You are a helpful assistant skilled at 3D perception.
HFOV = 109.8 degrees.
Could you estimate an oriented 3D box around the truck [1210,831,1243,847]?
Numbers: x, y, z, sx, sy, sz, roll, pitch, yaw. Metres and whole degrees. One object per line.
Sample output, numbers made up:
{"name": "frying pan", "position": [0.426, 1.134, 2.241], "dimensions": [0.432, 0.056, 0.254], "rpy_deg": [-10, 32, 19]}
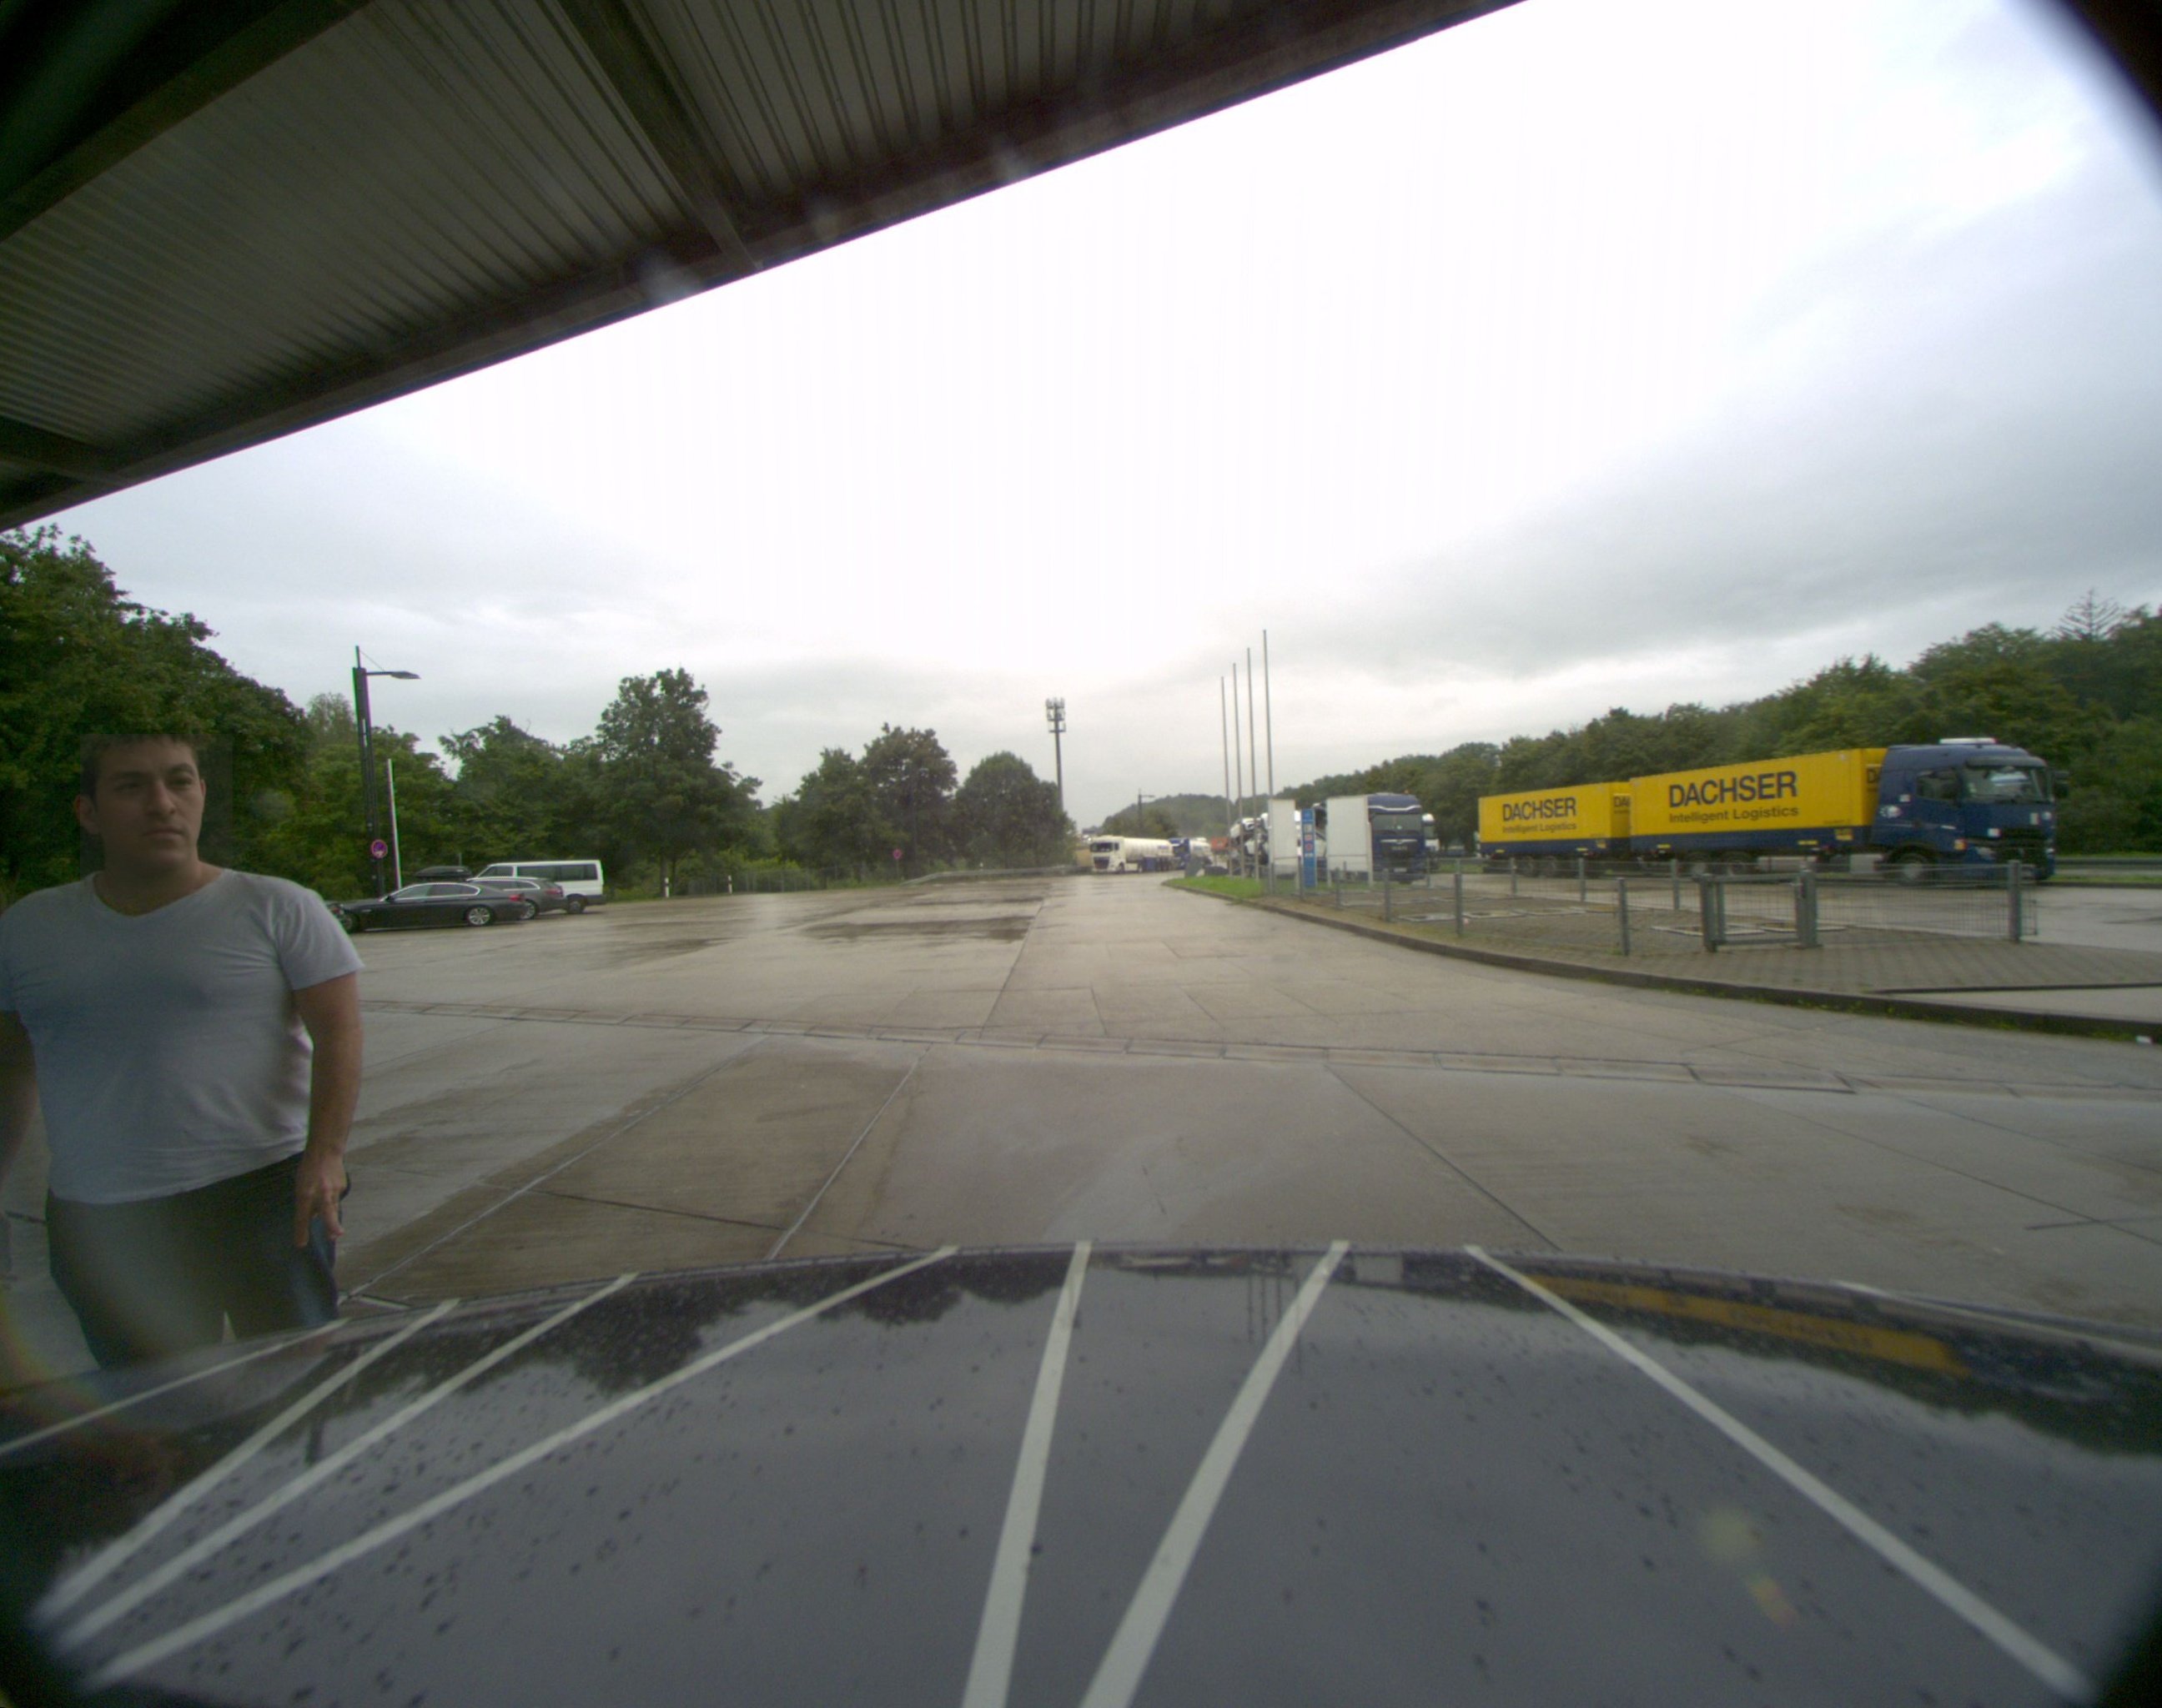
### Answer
{"name": "truck", "position": [33.584, -3.452, 176.268], "dimensions": [3.251, 3.543, 14.656], "rpy_deg": [-1, 1, -7]}

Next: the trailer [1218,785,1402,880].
{"name": "trailer", "position": [11.365, -0.999, 40.965], "dimensions": [2.990, 4.009, 16.597], "rpy_deg": [-2, 1, -7]}

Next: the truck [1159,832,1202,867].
{"name": "truck", "position": [11.313, -0.527, 85.760], "dimensions": [3.045, 3.745, 6.475], "rpy_deg": [-2, 1, 23]}

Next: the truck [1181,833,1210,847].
{"name": "truck", "position": [30.459, -3.678, 202.308], "dimensions": [3.251, 3.543, 16.548], "rpy_deg": [-2, 1, -7]}

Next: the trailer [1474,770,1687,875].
{"name": "trailer", "position": [21.775, -1.274, 34.019], "dimensions": [2.774, 4.009, 8.853], "rpy_deg": [-2, 1, -8]}

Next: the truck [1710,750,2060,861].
{"name": "truck", "position": [33.766, -1.817, 32.961], "dimensions": [2.991, 4.009, 10.464], "rpy_deg": [-2, 1, -10]}

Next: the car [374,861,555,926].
{"name": "car", "position": [-21.605, 1.323, 26.921], "dimensions": [4.780, 1.974, 2.010], "rpy_deg": [-2, 0, -36]}

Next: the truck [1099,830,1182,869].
{"name": "truck", "position": [6.186, -0.525, 76.375], "dimensions": [3.243, 3.544, 11.995], "rpy_deg": [-2, 1, 31]}

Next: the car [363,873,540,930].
{"name": "car", "position": [-20.360, 1.473, 24.855], "dimensions": [4.187, 1.547, 1.995], "rpy_deg": [-2, 0, -33]}

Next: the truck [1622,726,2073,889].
{"name": "truck", "position": [23.054, -1.212, 24.336], "dimensions": [2.774, 4.009, 10.632], "rpy_deg": [-2, 1, -8]}

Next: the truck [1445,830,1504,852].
{"name": "truck", "position": [45.957, -1.491, 89.023], "dimensions": [3.135, 2.290, 6.172], "rpy_deg": [-2, 0, -7]}

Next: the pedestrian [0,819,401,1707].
{"name": "pedestrian", "position": [-1.893, 0.845, 1.517], "dimensions": [0.635, 1.800, 0.493], "rpy_deg": [-4, 3, -34]}

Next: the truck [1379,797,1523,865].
{"name": "truck", "position": [24.351, -1.402, 50.984], "dimensions": [2.991, 4.009, 10.464], "rpy_deg": [-2, 1, -10]}

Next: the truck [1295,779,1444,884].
{"name": "truck", "position": [12.295, -0.922, 33.273], "dimensions": [2.990, 4.009, 7.259], "rpy_deg": [-2, 1, -7]}

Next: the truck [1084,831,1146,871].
{"name": "truck", "position": [3.303, -0.358, 71.463], "dimensions": [3.243, 3.544, 6.114], "rpy_deg": [-2, 1, 31]}

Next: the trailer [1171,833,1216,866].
{"name": "trailer", "position": [13.652, -0.654, 91.467], "dimensions": [2.898, 3.618, 10.586], "rpy_deg": [-2, 1, 22]}

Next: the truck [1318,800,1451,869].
{"name": "truck", "position": [19.748, -1.220, 50.459], "dimensions": [2.991, 4.009, 10.464], "rpy_deg": [-2, 1, -10]}

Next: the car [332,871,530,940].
{"name": "car", "position": [-19.112, 1.447, 22.637], "dimensions": [4.187, 1.720, 1.995], "rpy_deg": [-2, 0, -33]}
